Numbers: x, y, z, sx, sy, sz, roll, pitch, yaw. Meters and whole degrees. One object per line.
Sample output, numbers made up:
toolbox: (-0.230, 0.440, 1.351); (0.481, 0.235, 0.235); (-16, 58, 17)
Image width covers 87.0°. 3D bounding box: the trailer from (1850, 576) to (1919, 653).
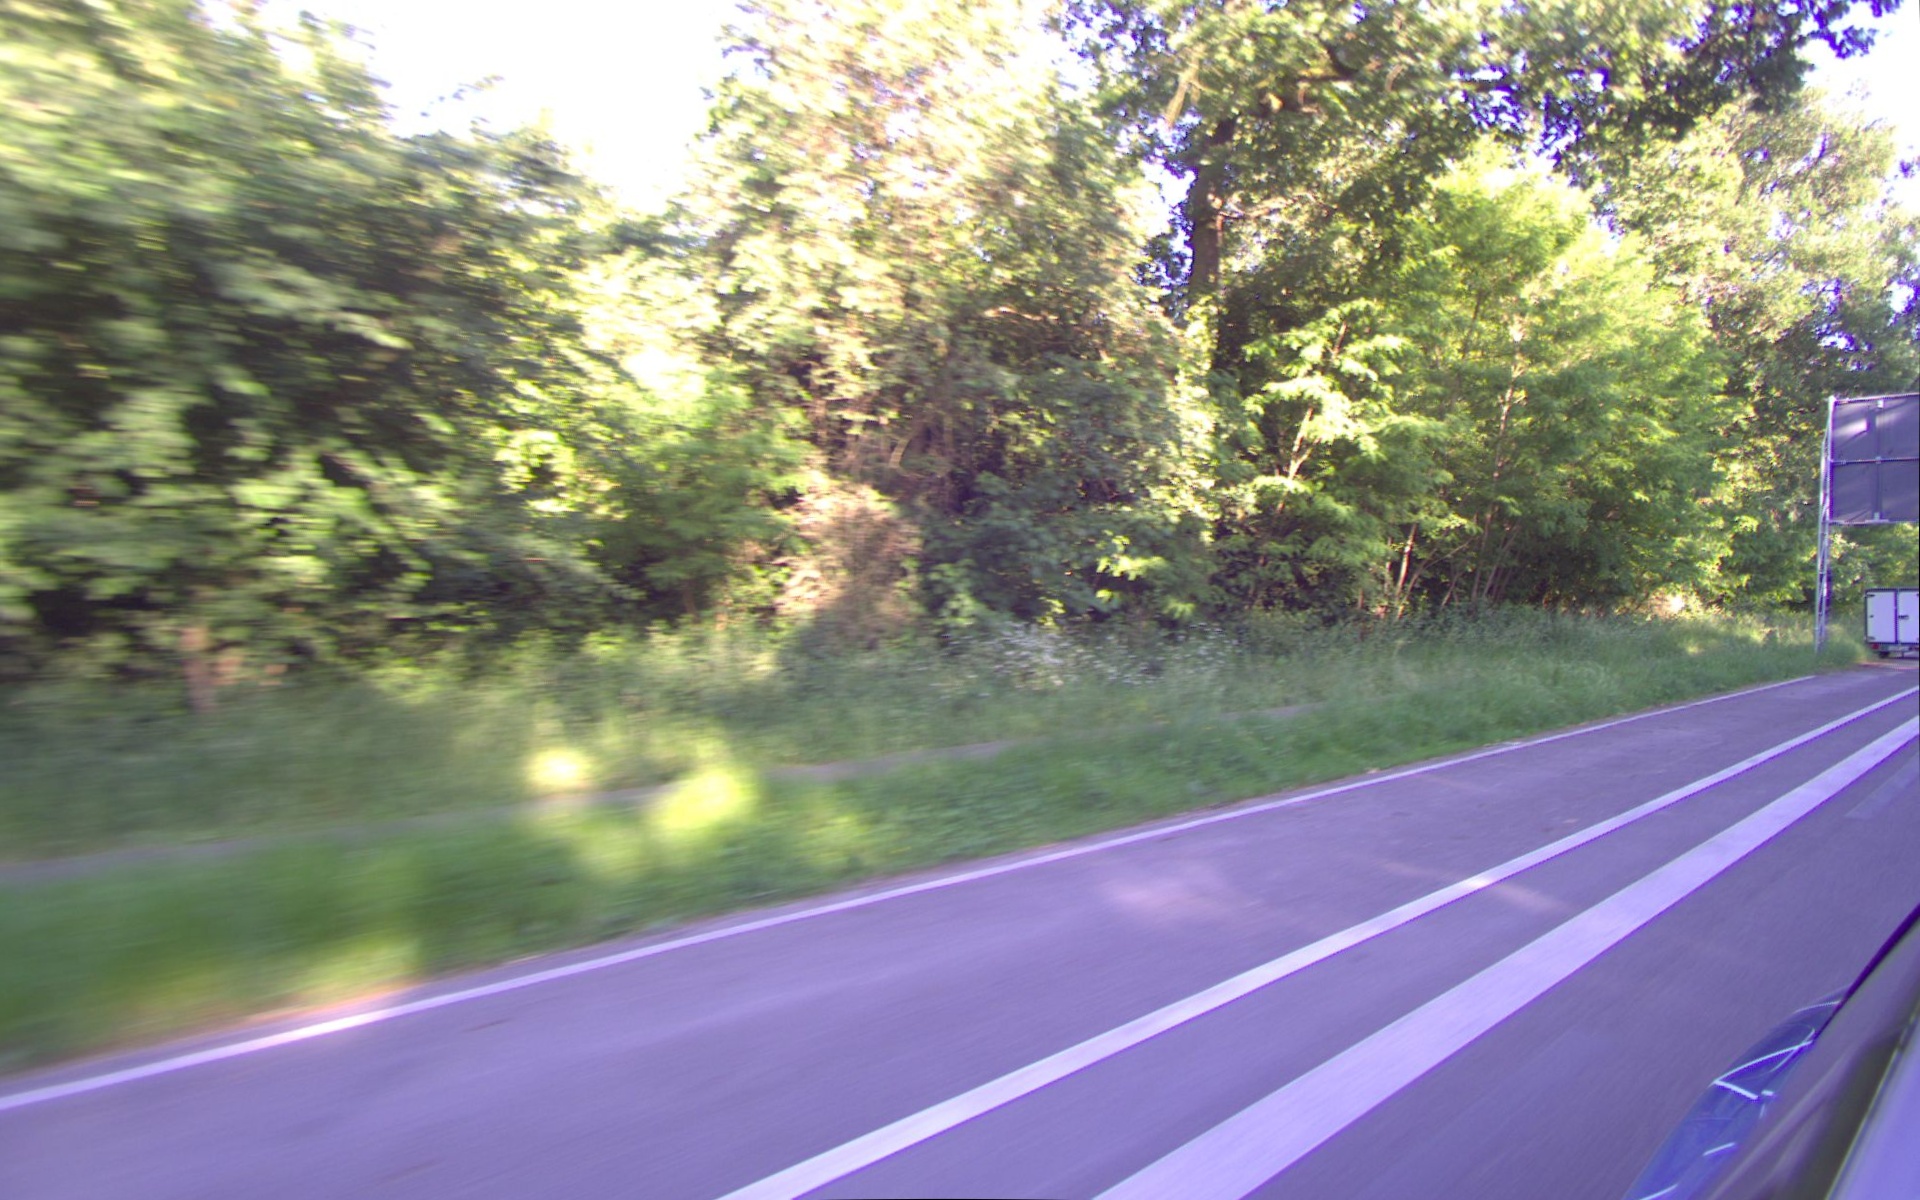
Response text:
trailer: (27.228, 0.386, 28.289); (3.763, 2.048, 1.973); (1, 1, -21)
